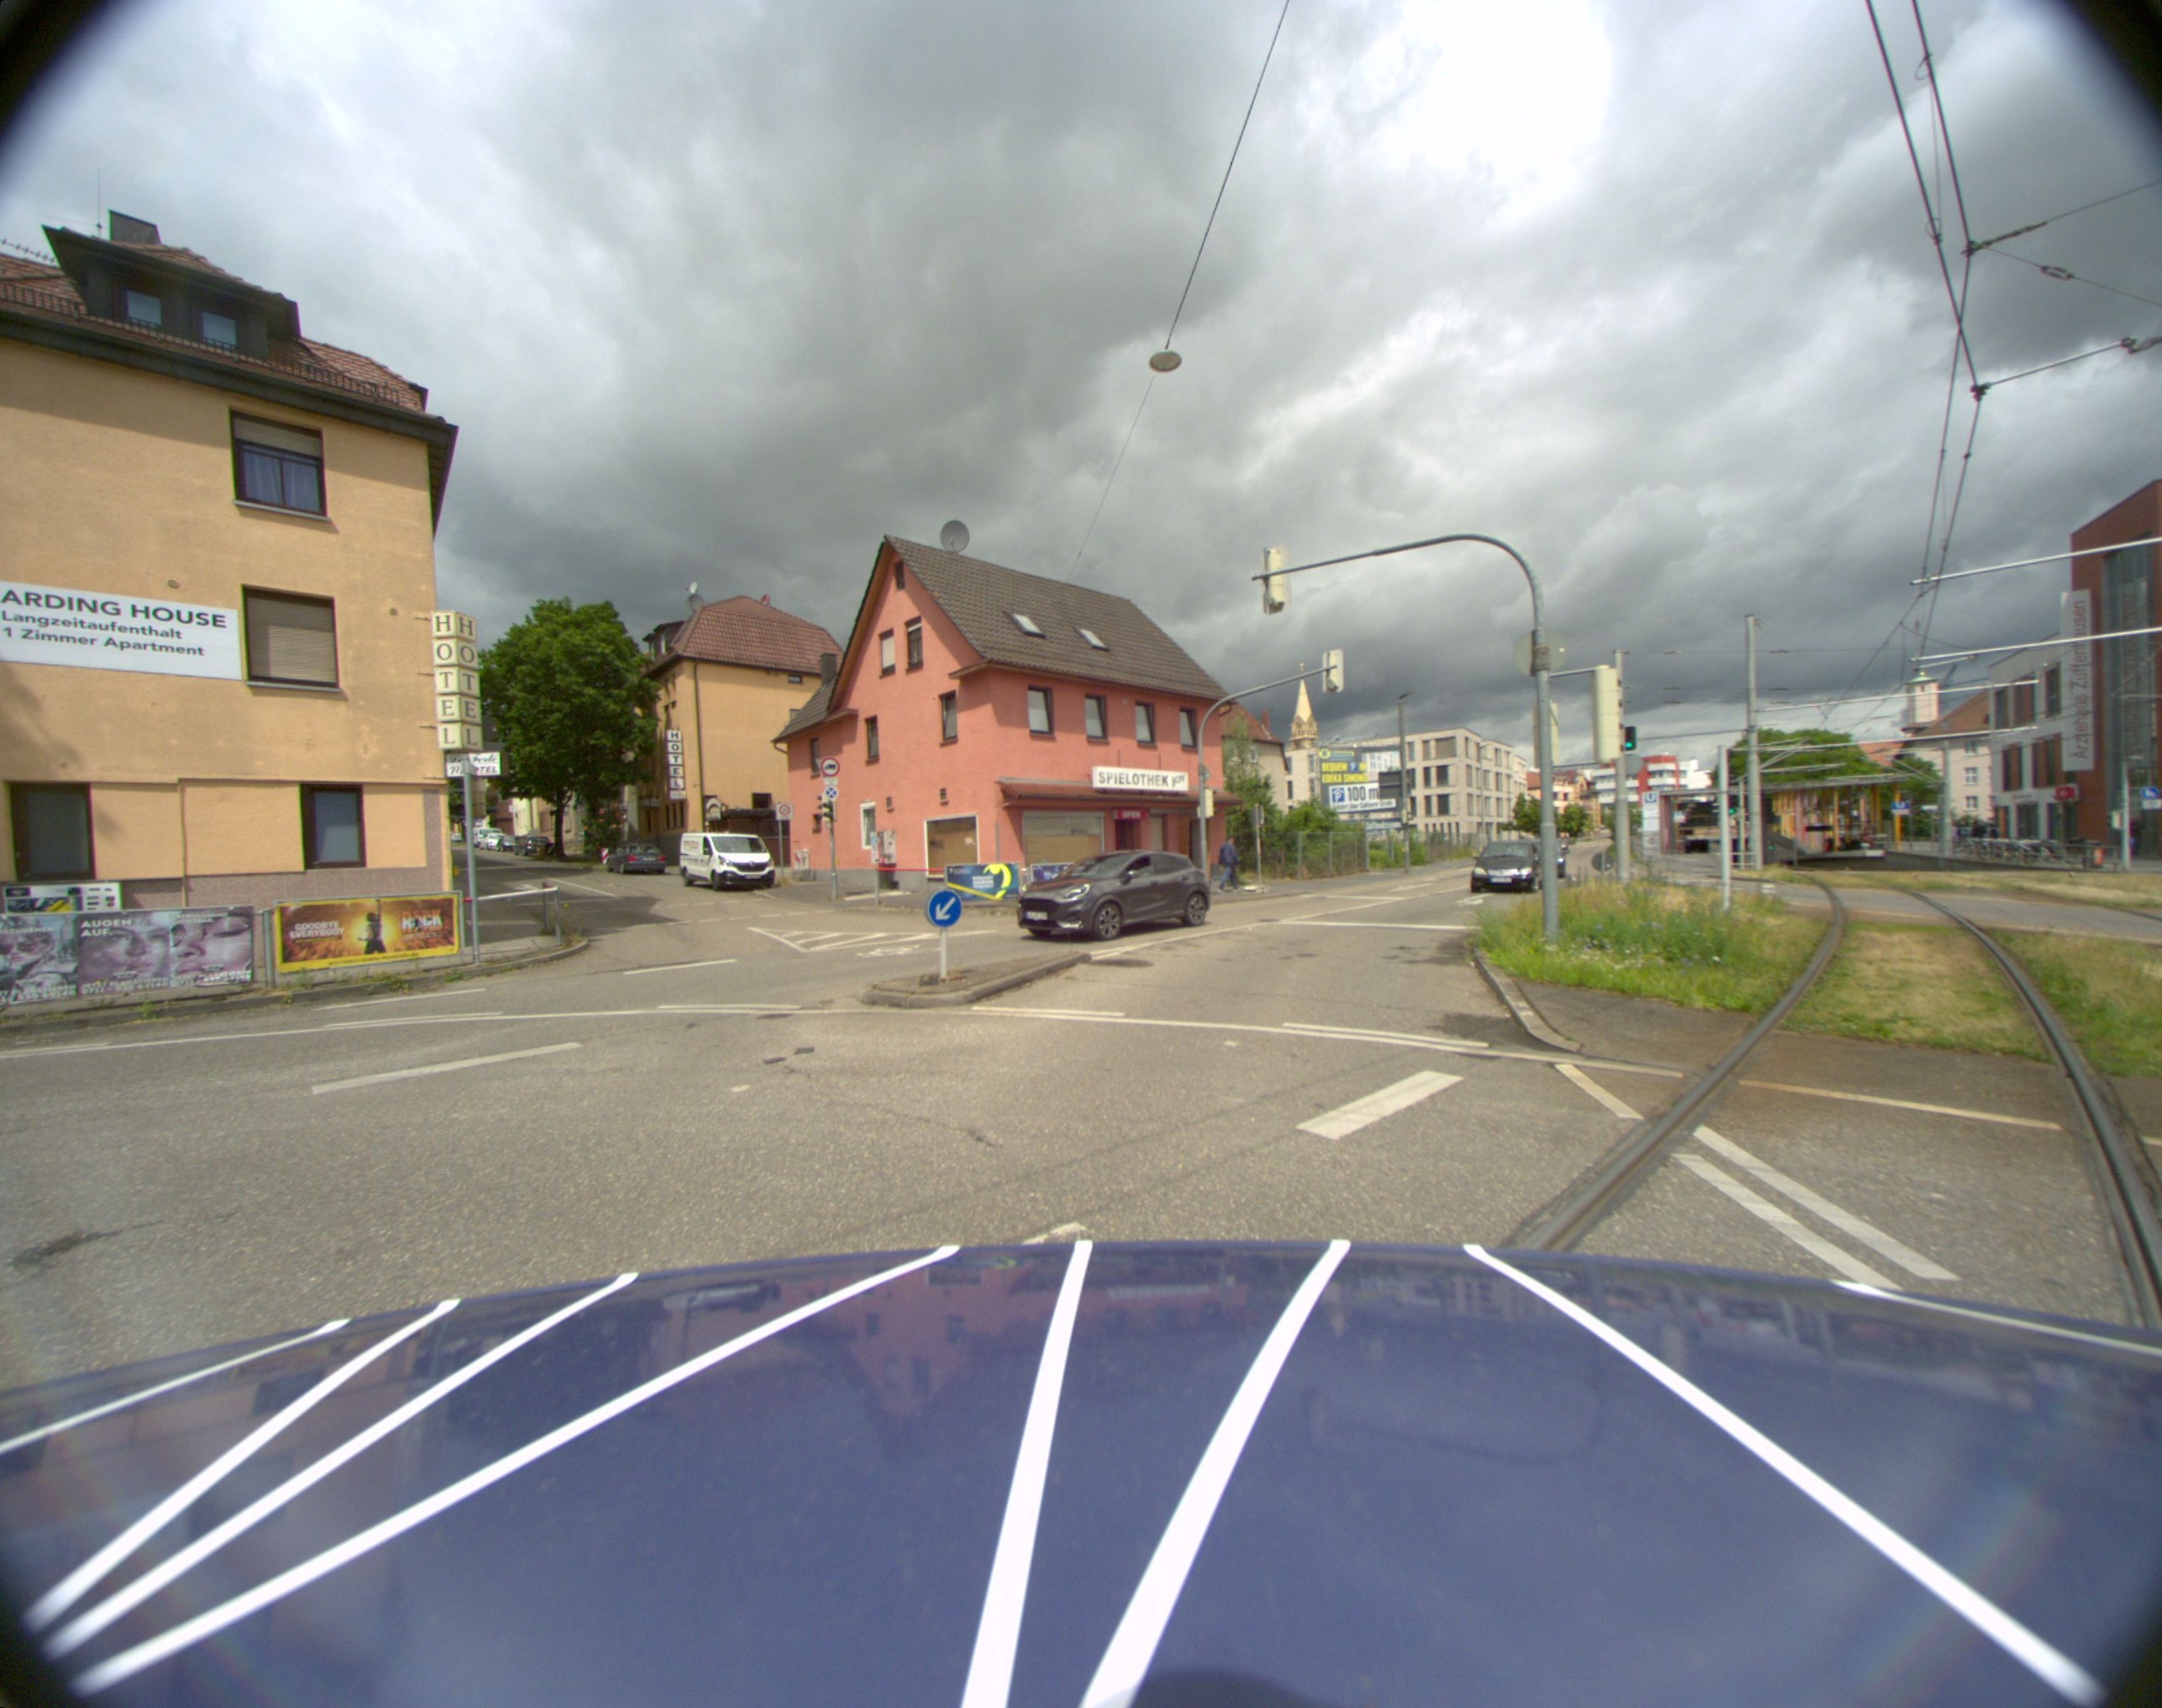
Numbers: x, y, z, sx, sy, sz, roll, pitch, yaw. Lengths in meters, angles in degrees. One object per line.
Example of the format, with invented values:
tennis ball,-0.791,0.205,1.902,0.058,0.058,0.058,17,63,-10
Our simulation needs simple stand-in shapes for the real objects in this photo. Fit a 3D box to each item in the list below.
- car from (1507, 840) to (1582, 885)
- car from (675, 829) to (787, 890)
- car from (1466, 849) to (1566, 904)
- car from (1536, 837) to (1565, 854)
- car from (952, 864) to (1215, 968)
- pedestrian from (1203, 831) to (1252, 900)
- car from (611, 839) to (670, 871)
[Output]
car,19.306,0.318,31.559,1.994,1.640,4.428,-1,1,40
car,-12.395,0.140,26.760,2.085,1.887,4.648,-4,3,-44
car,13.376,0.641,23.252,1.878,1.420,4.008,-1,1,41
car,43.674,-0.792,70.664,1.994,1.450,4.007,-2,1,35
car,0.233,0.972,13.845,1.914,1.363,4.865,-1,1,44
pedestrian,4.673,0.356,24.238,1.131,2.135,1.049,-2,2,-40
car,-20.146,0.053,34.709,1.565,1.363,3.123,-3,1,-43
